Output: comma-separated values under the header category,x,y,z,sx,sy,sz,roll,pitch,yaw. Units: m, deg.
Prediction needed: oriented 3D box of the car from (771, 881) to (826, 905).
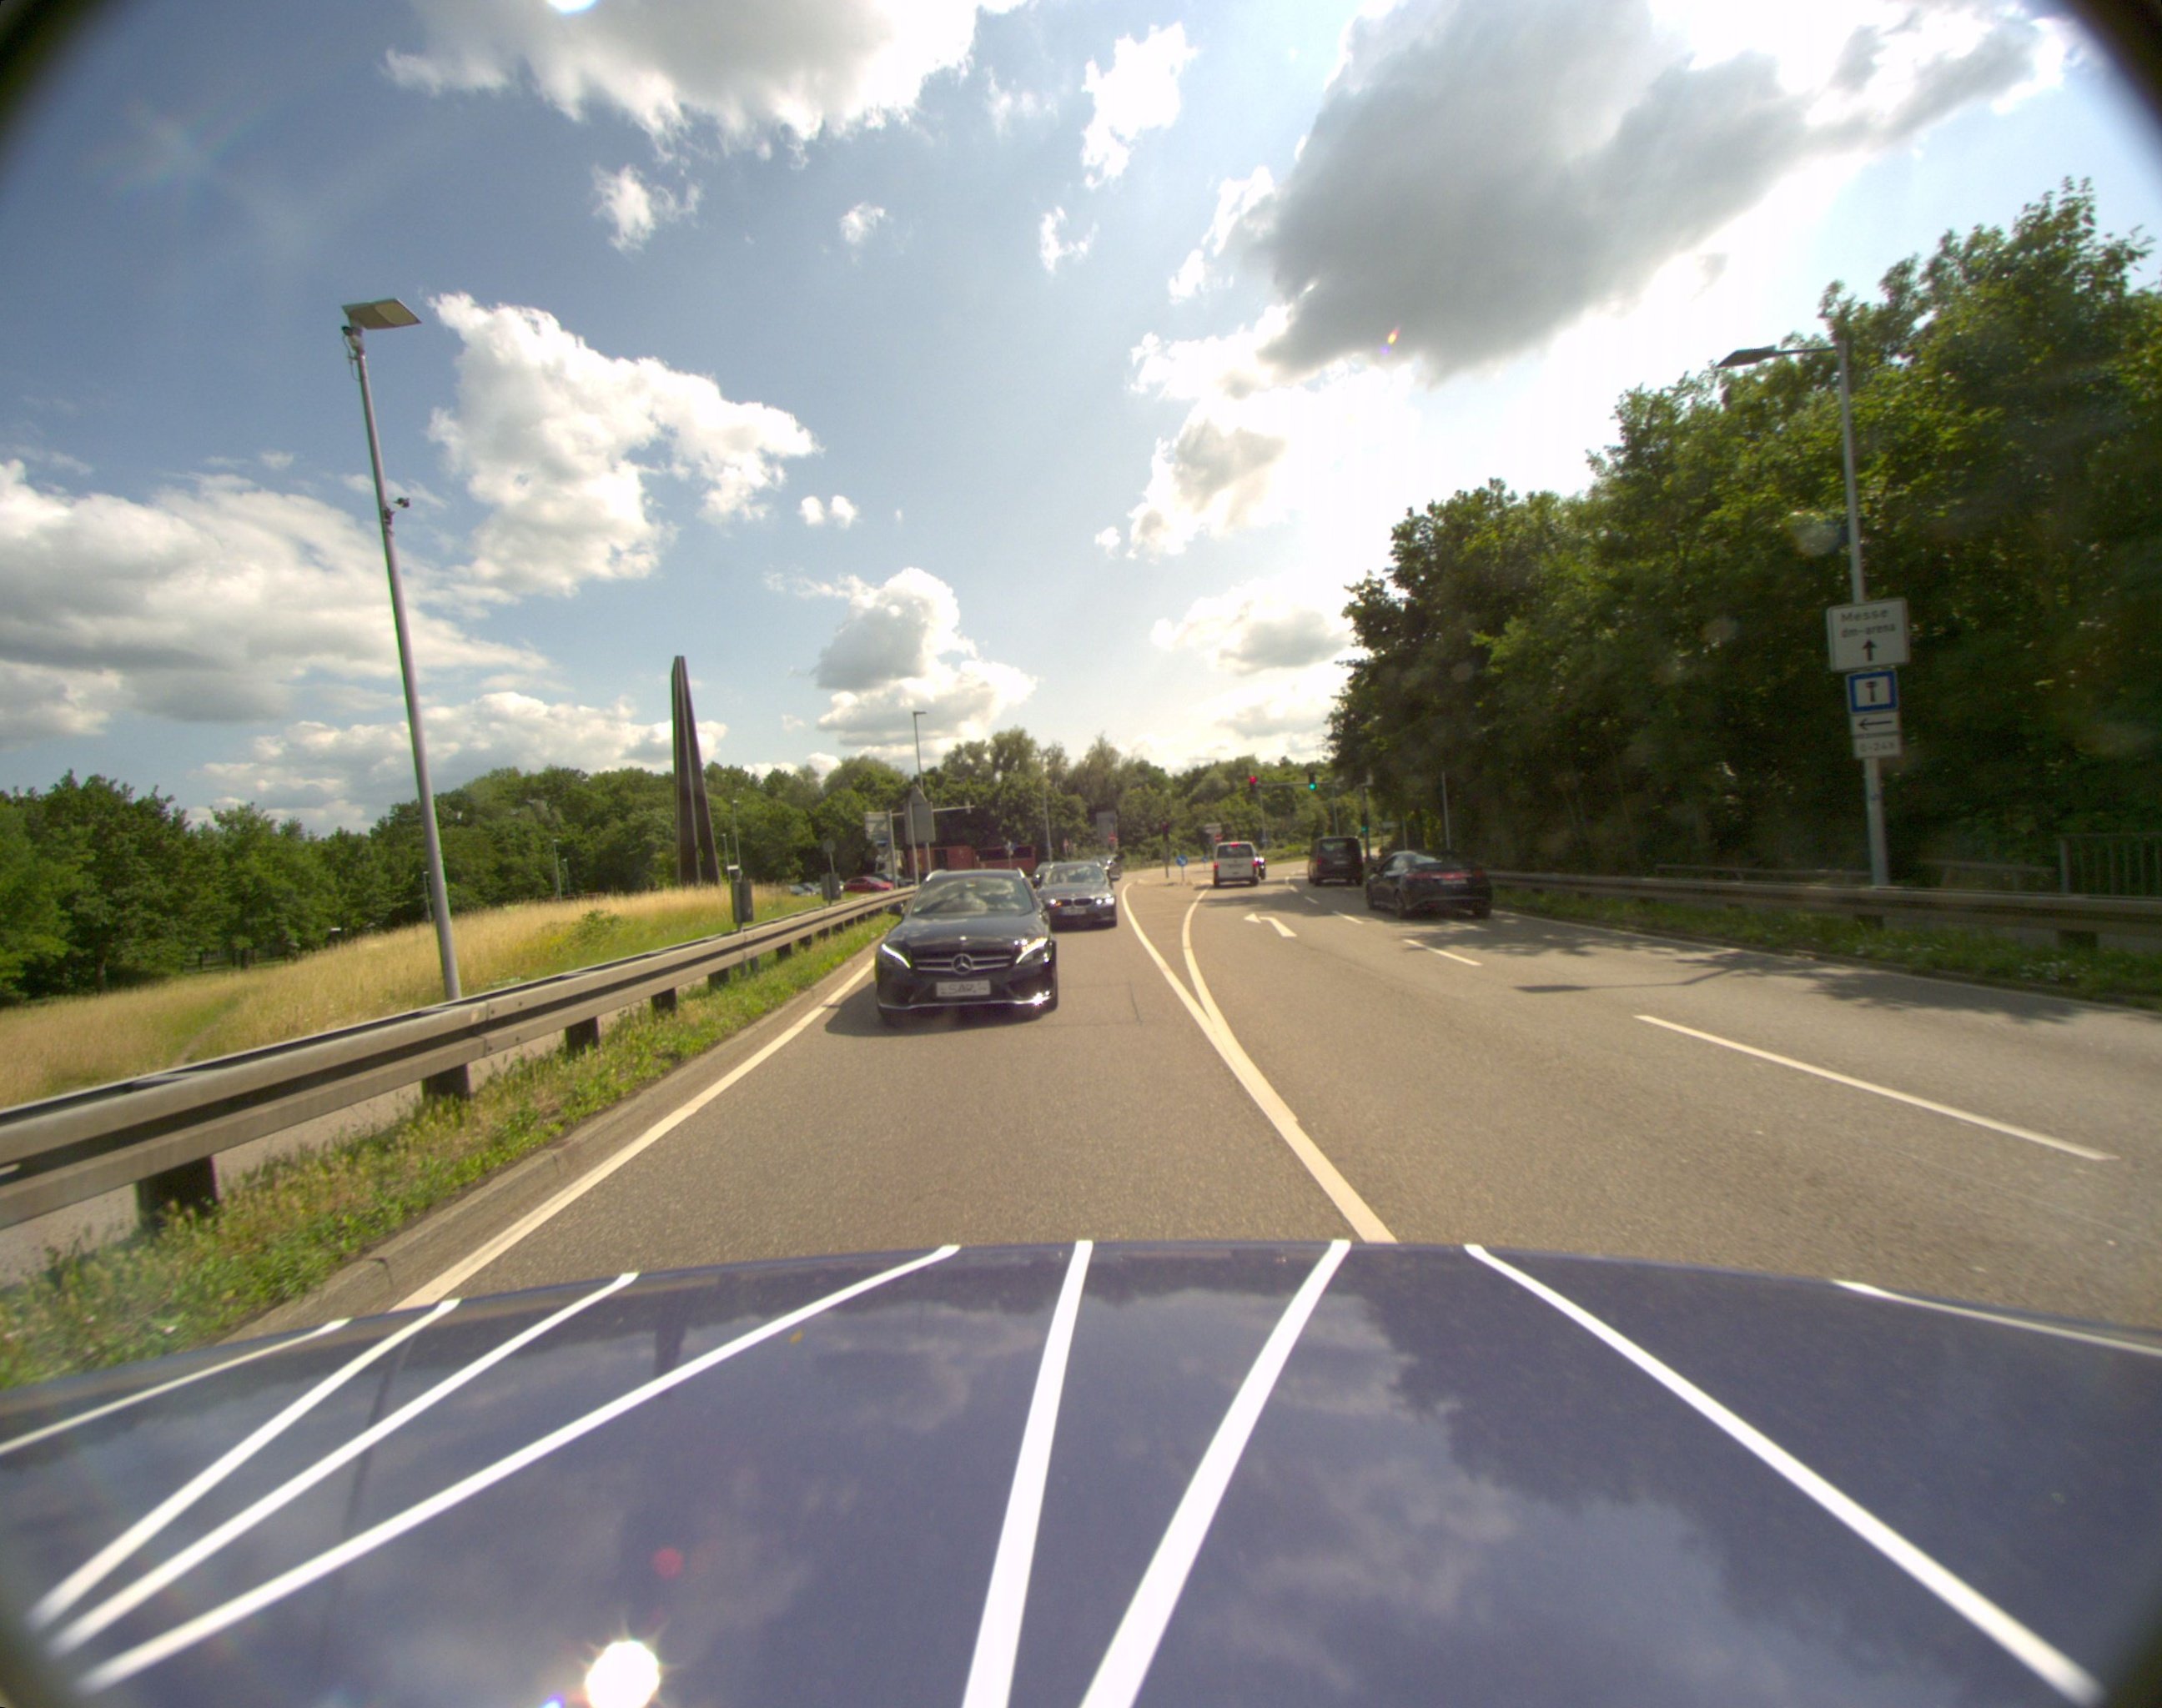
category,x,y,z,sx,sy,sz,roll,pitch,yaw
car,-22.345,3.067,60.063,3.991,1.455,1.870,-6,0,30

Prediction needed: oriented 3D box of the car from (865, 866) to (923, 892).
category,x,y,z,sx,sy,sz,roll,pitch,yaw
car,-14.478,1.941,58.706,4.206,1.636,1.841,-5,-1,31

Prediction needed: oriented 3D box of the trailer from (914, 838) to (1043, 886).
category,x,y,z,sx,sy,sz,roll,pitch,yaw
trailer,-10.253,0.765,75.976,12.321,3.827,2.778,-4,0,-10

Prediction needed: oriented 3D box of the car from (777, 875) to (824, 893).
category,x,y,z,sx,sy,sz,roll,pitch,yaw
car,-25.902,2.743,70.035,4.040,1.367,1.884,-5,-1,31

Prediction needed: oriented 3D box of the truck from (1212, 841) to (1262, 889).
category,x,y,z,sx,sy,sz,roll,pitch,yaw
truck,6.945,0.436,34.227,1.964,1.902,5.374,-3,0,10

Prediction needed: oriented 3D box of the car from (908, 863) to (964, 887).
category,x,y,z,sx,sy,sz,roll,pitch,yaw
car,-11.952,1.712,62.573,4.285,1.607,1.848,-5,1,31

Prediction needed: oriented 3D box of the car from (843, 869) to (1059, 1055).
category,x,y,z,sx,sy,sz,roll,pitch,yaw
car,-1.325,0.987,8.893,1.796,1.427,4.367,-4,0,-5

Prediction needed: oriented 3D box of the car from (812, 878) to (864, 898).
category,x,y,z,sx,sy,sz,roll,pitch,yaw
car,-20.131,2.793,62.808,4.206,1.367,1.649,-5,-1,31

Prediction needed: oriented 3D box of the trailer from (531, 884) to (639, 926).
category,x,y,z,sx,sy,sz,roll,pitch,yaw
trailer,-59.626,6.152,91.226,13.821,3.868,2.651,-6,0,19

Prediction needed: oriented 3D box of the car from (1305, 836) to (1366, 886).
category,x,y,z,sx,sy,sz,roll,pitch,yaw
car,10.653,0.260,32.098,1.996,1.902,5.137,-2,0,14

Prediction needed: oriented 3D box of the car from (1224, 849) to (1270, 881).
category,x,y,z,sx,sy,sz,roll,pitch,yaw
car,8.809,0.563,40.614,1.702,1.548,3.822,-3,0,2

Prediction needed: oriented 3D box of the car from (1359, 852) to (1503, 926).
category,x,y,z,sx,sy,sz,roll,pitch,yaw
car,7.599,0.692,16.922,1.802,1.381,4.008,-3,0,8

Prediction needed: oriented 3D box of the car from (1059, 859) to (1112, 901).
category,x,y,z,sx,sy,sz,roll,pitch,yaw
car,0.177,0.949,29.769,1.858,1.402,4.000,-4,0,1

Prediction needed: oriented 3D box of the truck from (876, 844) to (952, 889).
category,x,y,z,sx,sy,sz,roll,pitch,yaw
truck,-16.356,1.186,74.836,6.819,3.822,2.777,-4,0,-8

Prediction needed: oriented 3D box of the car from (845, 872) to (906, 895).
category,x,y,z,sx,sy,sz,roll,pitch,yaw
car,-14.897,2.140,55.078,4.206,1.367,1.762,-5,-1,31

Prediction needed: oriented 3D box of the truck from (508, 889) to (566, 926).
category,x,y,z,sx,sy,sz,roll,pitch,yaw
truck,-66.965,6.578,93.544,5.866,3.880,2.882,-6,0,21

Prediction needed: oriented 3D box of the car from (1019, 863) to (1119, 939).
category,x,y,z,sx,sy,sz,roll,pitch,yaw
car,-0.146,0.983,17.330,1.858,1.354,4.001,-2,1,5
